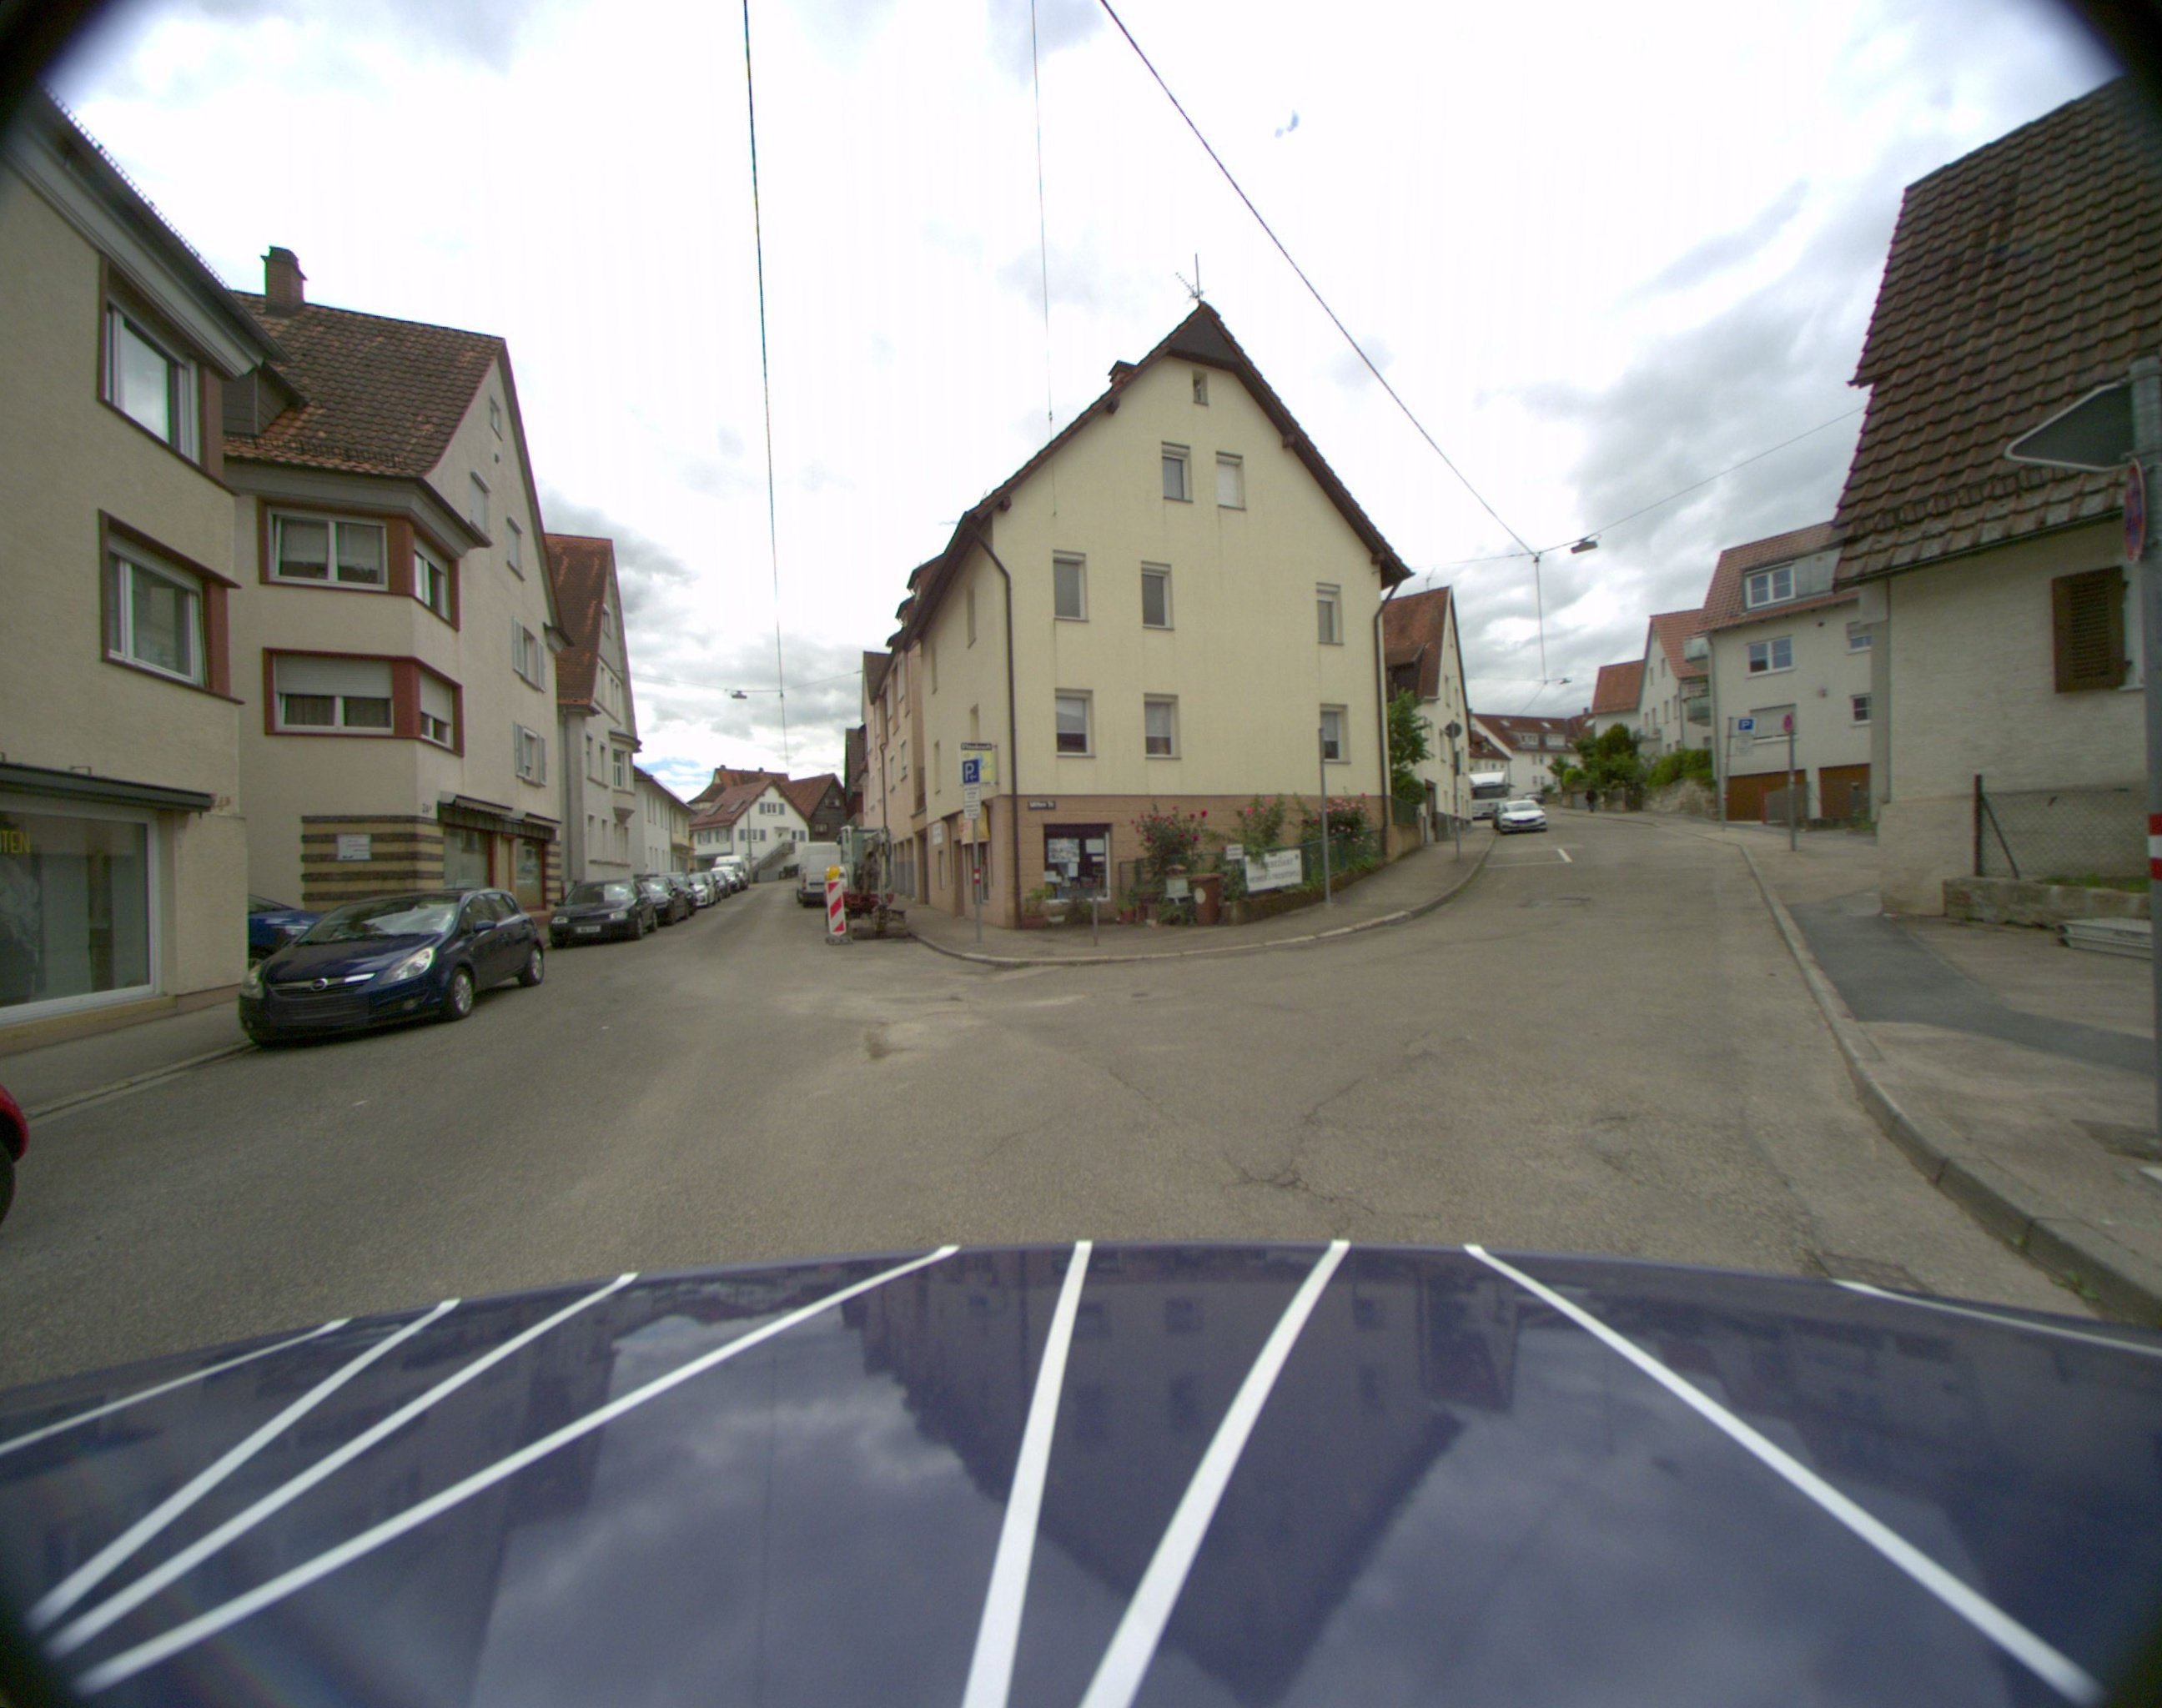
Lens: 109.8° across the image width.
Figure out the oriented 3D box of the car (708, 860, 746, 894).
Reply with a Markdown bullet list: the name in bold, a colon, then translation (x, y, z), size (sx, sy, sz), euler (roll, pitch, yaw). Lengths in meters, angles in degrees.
- **car**: translation (-23.256, 1.491, 50.072), size (1.698, 1.993, 4.087), euler (-5, 1, -19)

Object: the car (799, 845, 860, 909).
- **car**: translation (-10.540, 0.874, 31.544), size (2.002, 2.373, 6.609), euler (0, 0, -22)

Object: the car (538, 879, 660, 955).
- **car**: translation (-11.296, 1.389, 18.086), size (1.699, 1.395, 3.994), euler (-4, 1, -22)

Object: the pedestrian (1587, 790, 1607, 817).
- **pedestrian**: translation (33.833, -3.316, 49.816), size (0.841, 1.668, 0.977), euler (-5, 3, 23)

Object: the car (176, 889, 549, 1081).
- **car**: translation (-7.976, 1.281, 8.995), size (1.698, 1.442, 3.913), euler (-5, 1, -20)

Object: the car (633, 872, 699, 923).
- **car**: translation (-14.970, 1.511, 27.581), size (1.699, 1.511, 4.096), euler (-5, 1, -25)

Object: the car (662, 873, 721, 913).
- **car**: translation (-16.688, 1.621, 32.709), size (1.698, 1.382, 3.794), euler (-5, 1, -20)

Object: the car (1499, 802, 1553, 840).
- **car**: translation (20.295, -1.551, 34.781), size (1.796, 1.437, 4.302), euler (-4, 2, 27)

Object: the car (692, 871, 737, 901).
- **car**: translation (-20.183, 1.705, 41.969), size (1.698, 1.382, 3.707), euler (-5, 1, -19)

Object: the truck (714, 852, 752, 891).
- **truck**: translation (-25.207, 1.248, 55.132), size (1.828, 2.581, 4.772), euler (-5, 1, -19)

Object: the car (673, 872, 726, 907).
- **car**: translation (-18.368, 1.671, 36.747), size (1.698, 1.382, 3.707), euler (-5, 1, -19)

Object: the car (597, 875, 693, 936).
- **car**: translation (-12.969, 1.457, 22.863), size (1.698, 1.442, 4.097), euler (-5, 1, -20)

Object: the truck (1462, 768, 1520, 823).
- **truck**: translation (30.149, -4.214, 56.217), size (2.679, 3.577, 8.114), euler (-4, 1, 22)

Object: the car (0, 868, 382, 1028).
- **car**: translation (-14.429, 1.388, 11.680), size (4.905, 1.855, 1.950), euler (-5, 2, -20)

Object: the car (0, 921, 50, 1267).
- **car**: translation (-5.177, 1.134, 1.602), size (1.698, 1.547, 3.689), euler (-4, 1, -20)

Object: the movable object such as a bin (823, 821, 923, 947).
- **movable object such as a bin**: translation (-4.884, 0.606, 17.377), size (1.574, 2.485, 4.665), euler (0, 0, -23)
